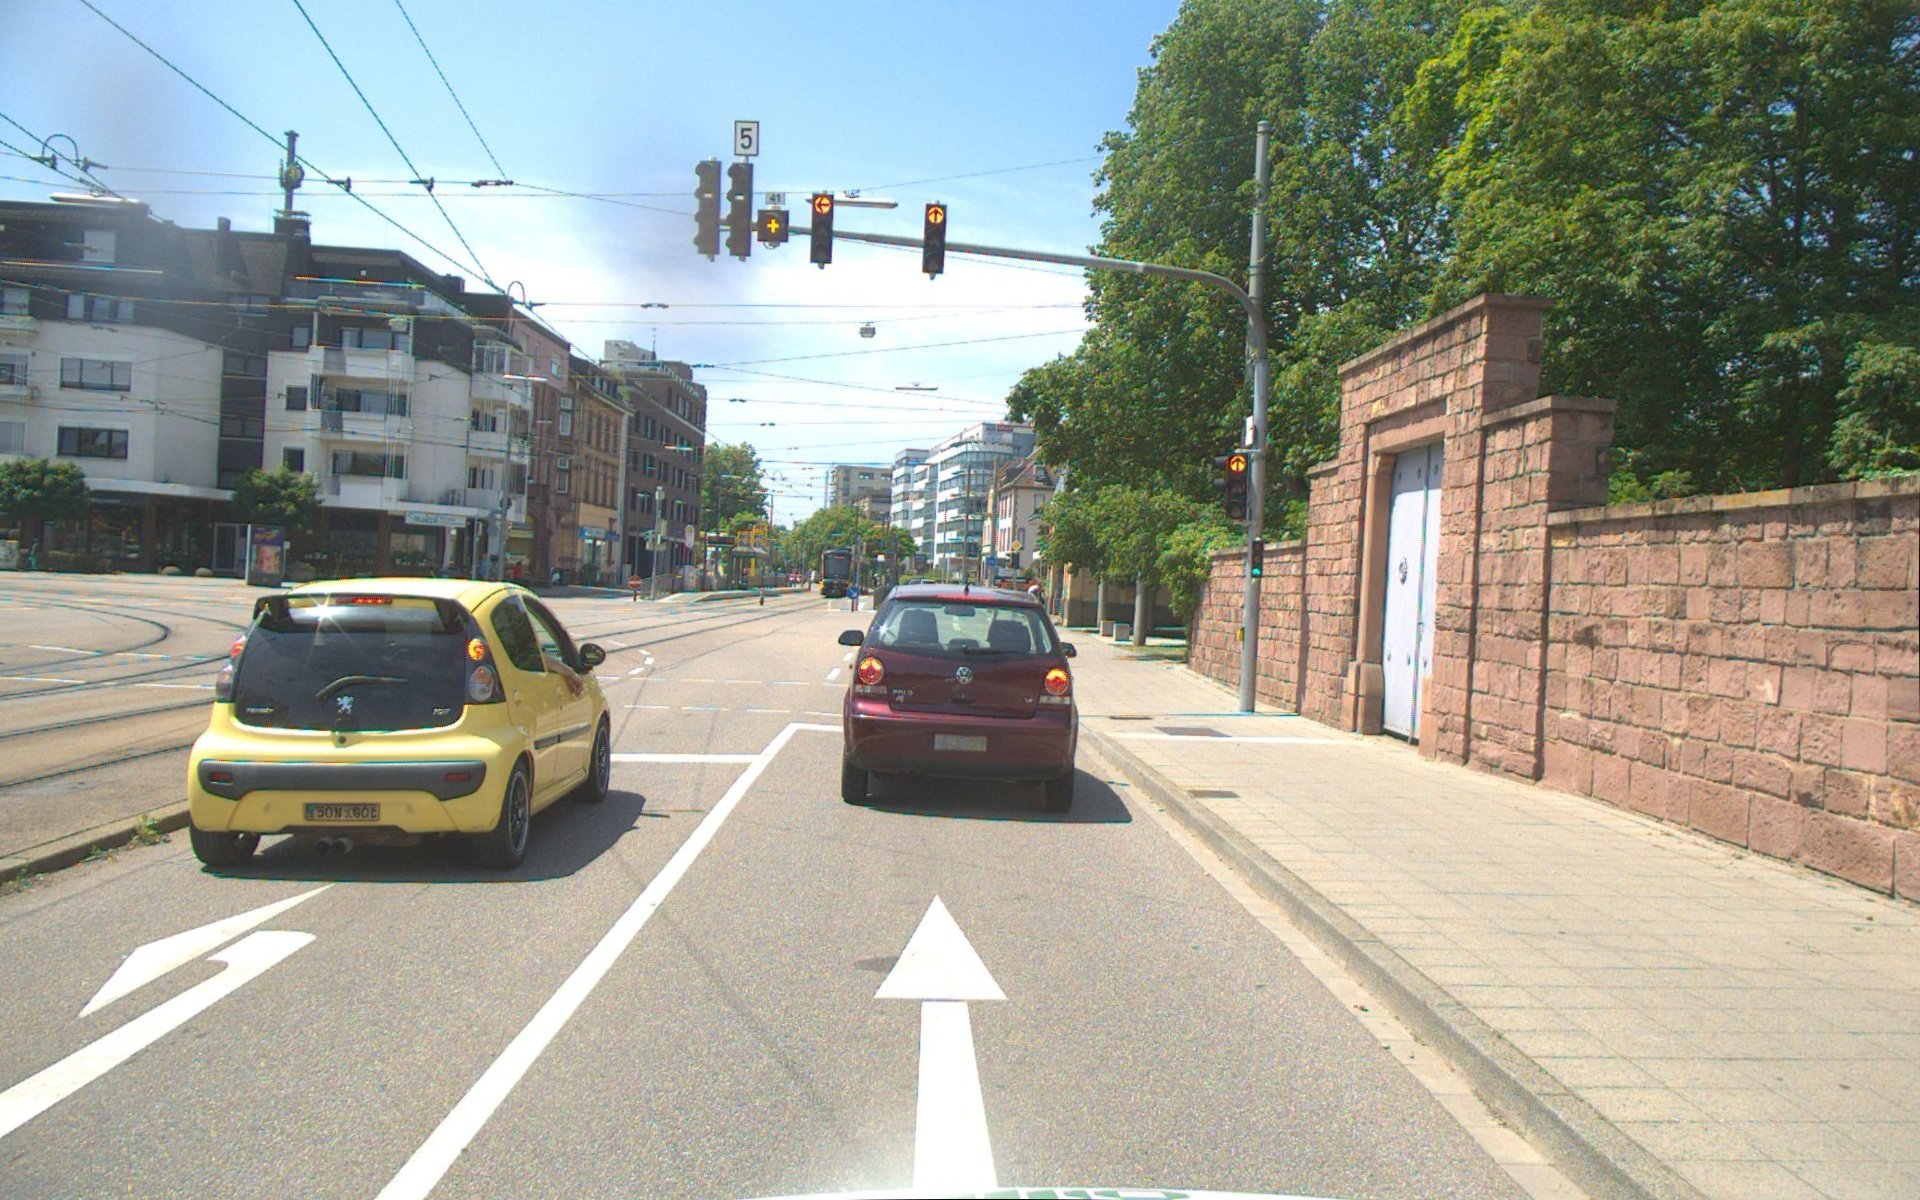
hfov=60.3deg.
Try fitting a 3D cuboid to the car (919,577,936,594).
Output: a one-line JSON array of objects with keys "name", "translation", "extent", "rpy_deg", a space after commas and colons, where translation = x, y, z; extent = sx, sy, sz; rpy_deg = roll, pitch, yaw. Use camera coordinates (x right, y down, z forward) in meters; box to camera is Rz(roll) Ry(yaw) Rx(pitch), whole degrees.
[{"name": "car", "translation": [-2.898, -1.285, 147.610], "extent": [1.541, 1.440, 3.719], "rpy_deg": [0, 1, -2]}]

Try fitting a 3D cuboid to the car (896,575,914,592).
[{"name": "car", "translation": [-5.681, -1.658, 169.456], "extent": [1.744, 1.651, 3.998], "rpy_deg": [1, 0, -3]}]

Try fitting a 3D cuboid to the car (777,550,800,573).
[{"name": "car", "translation": [-16.415, -3.689, 158.436], "extent": [1.700, 2.048, 3.999], "rpy_deg": [2, 1, -1]}]

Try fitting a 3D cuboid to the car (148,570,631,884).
[{"name": "car", "translation": [-3.035, 0.575, 9.501], "extent": [1.688, 1.470, 3.292], "rpy_deg": [1, 1, -2]}]

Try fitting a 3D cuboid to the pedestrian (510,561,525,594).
[{"name": "pedestrian", "translation": [-21.588, -1.084, 80.643], "extent": [0.473, 1.568, 0.538], "rpy_deg": [1, 0, 13]}]

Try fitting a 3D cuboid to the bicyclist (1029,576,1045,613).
[{"name": "bicyclist", "translation": [3.933, -0.277, 84.226], "extent": [0.707, 1.850, 0.888], "rpy_deg": [1, 0, -1]}]

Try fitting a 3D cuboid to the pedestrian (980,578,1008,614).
[{"name": "pedestrian", "translation": [1.622, -0.197, 80.015], "extent": [0.971, 1.690, 0.910], "rpy_deg": [2, 0, -30]}]

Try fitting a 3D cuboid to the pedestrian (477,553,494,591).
[{"name": "pedestrian", "translation": [-22.784, -1.351, 79.380], "extent": [0.497, 1.785, 0.606], "rpy_deg": [1, -1, 45]}]

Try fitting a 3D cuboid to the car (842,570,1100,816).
[{"name": "car", "translation": [0.015, 0.566, 12.534], "extent": [1.577, 1.489, 4.084], "rpy_deg": [3, 1, -2]}]

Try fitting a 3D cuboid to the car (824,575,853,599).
[{"name": "car", "translation": [-8.912, -0.912, 121.254], "extent": [1.899, 1.670, 3.999], "rpy_deg": [1, 0, -2]}]

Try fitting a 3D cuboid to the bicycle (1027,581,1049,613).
[{"name": "bicycle", "translation": [3.907, -0.127, 83.395], "extent": [0.818, 1.552, 3.999], "rpy_deg": [1, 0, -1]}]
